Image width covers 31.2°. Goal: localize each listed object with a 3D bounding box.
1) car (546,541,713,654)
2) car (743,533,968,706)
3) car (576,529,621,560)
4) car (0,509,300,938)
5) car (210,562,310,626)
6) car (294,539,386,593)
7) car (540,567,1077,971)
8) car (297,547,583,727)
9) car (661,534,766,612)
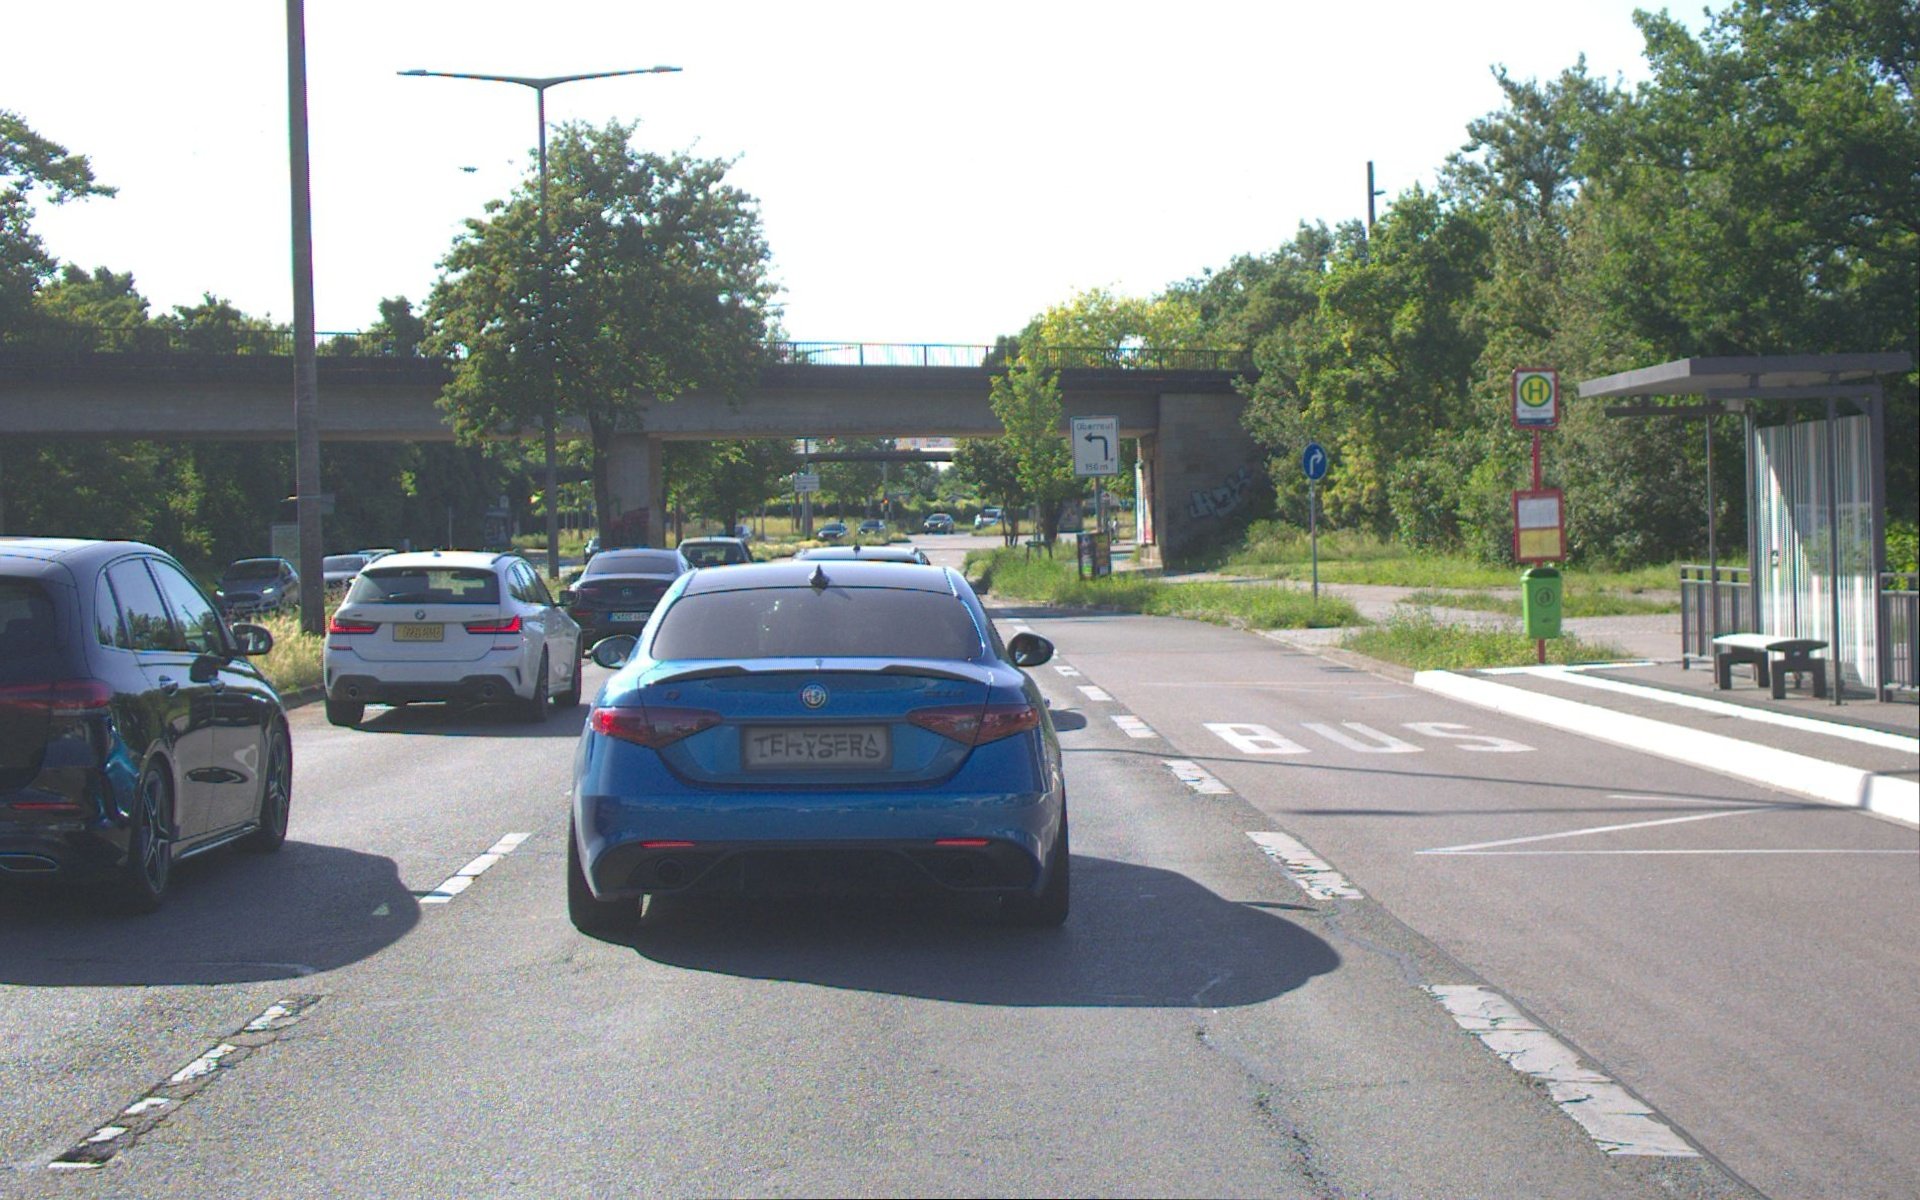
[{"bbox_3d":[-4.412,-0.067,46.486,1.883,1.449,4.526,0,1,-1],"label":"car"},{"bbox_3d":[-0.908,0.130,31.165,1.883,1.449,4.526,0,1,-1],"label":"car"},{"bbox_3d":[-17.633,-2.704,167.892,1.816,1.437,4.090,-2,1,-1],"label":"car"},{"bbox_3d":[-4.093,0.430,14.884,1.708,1.592,4.224,0,1,-1],"label":"car"},{"bbox_3d":[-17.333,-0.157,85.256,1.641,1.446,4.112,-3,1,-1],"label":"car"},{"bbox_3d":[-17.814,-0.982,98.997,1.817,1.430,4.631,-3,1,-1],"label":"car"},{"bbox_3d":[-0.562,0.575,14.206,1.883,1.401,4.224,0,1,-1],"label":"car"},{"bbox_3d":[-4.456,0.271,30.086,1.883,1.449,4.526,0,1,-1],"label":"car"},{"bbox_3d":[-4.822,-0.550,67.711,1.779,1.449,4.182,-1,1,-1],"label":"car"}]
